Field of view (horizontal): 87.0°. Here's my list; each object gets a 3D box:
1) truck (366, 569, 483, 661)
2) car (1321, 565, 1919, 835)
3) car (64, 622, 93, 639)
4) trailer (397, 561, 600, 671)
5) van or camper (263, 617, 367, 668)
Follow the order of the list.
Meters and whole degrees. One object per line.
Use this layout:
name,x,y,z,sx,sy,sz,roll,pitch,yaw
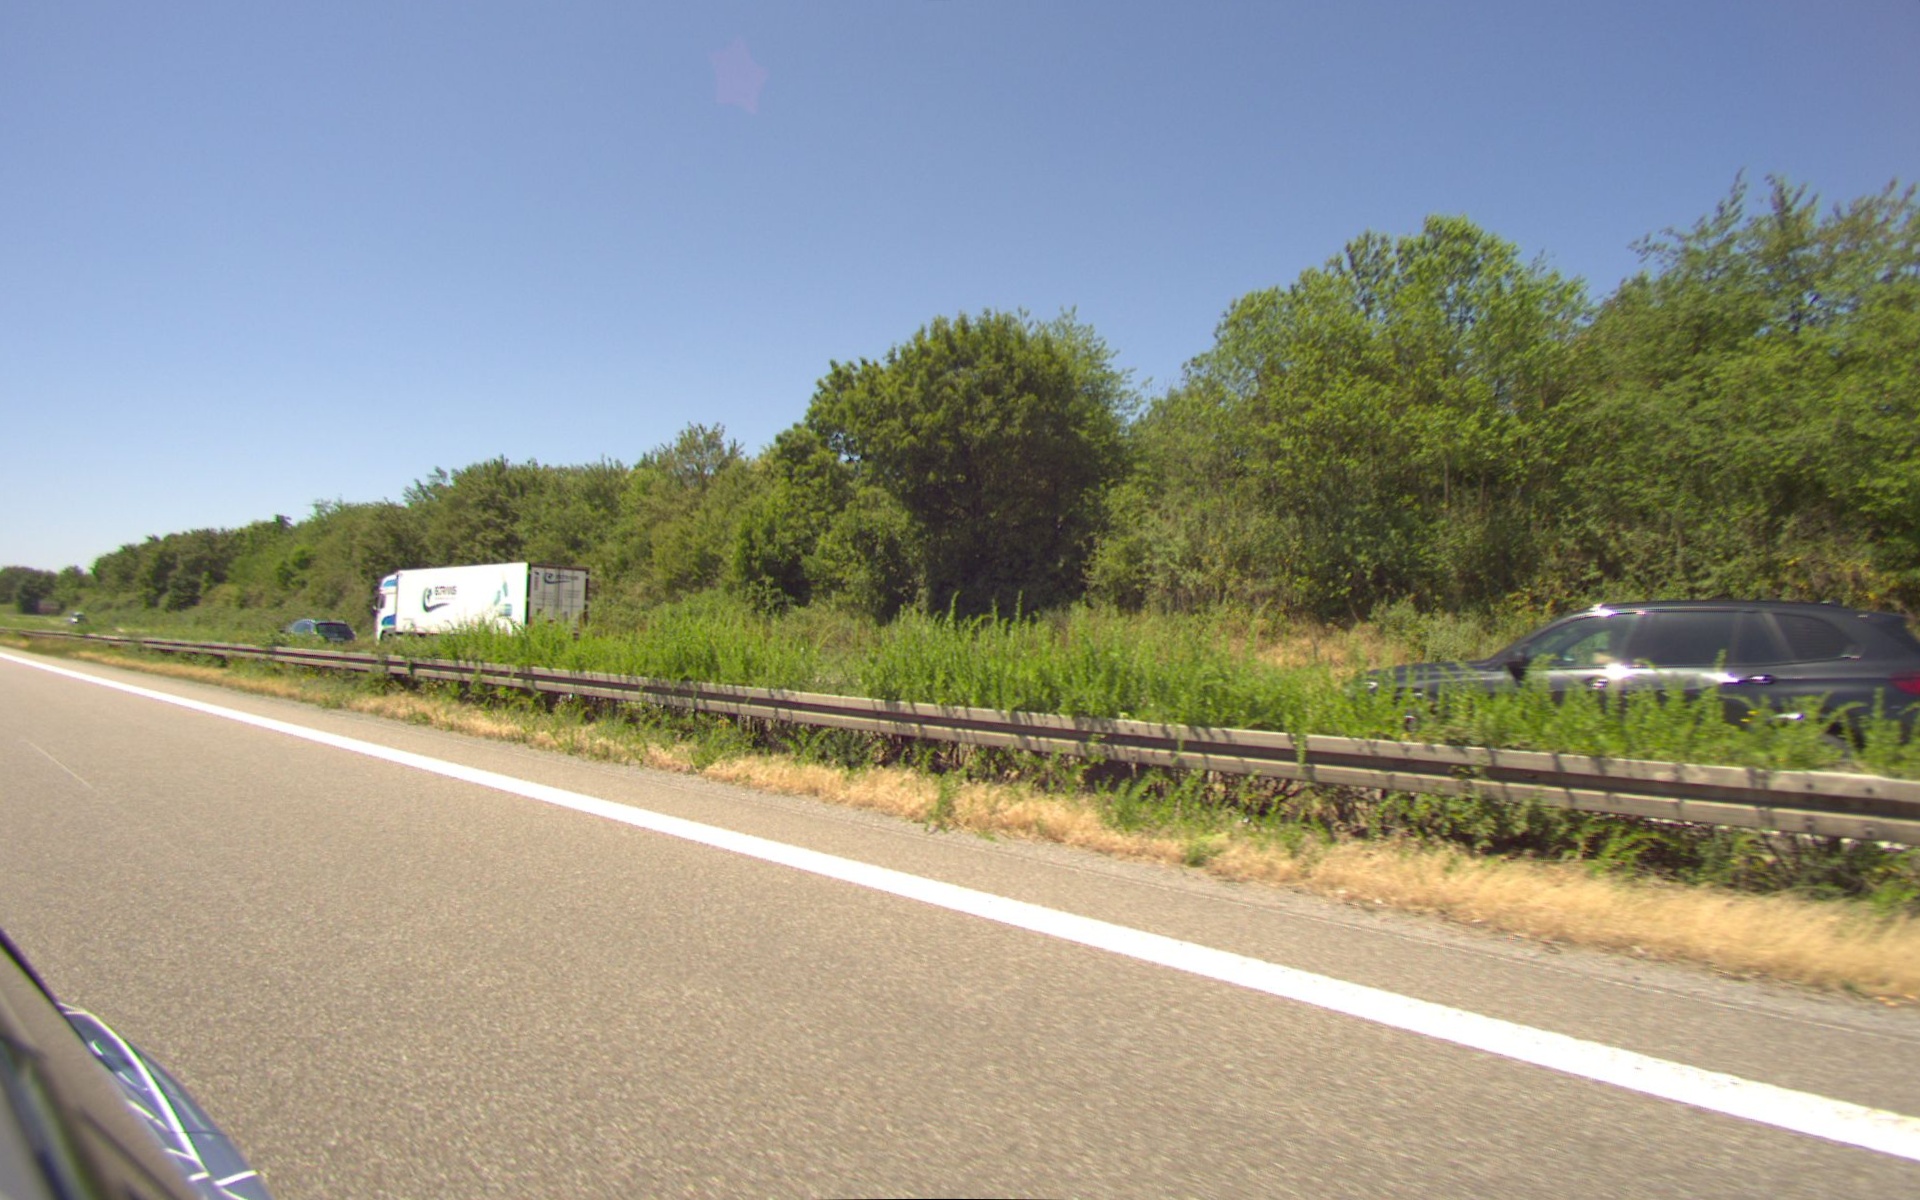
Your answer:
truck,-26.210,0.692,49.429,5.942,4.180,3.160,-1,0,42
car,6.148,0.721,9.040,5.188,1.921,1.854,-1,0,41
car,-103.529,3.615,118.796,4.301,1.929,1.973,-1,-2,41
trailer,-20.575,0.668,44.412,12.983,4.222,3.142,-1,0,42
van or camper,-23.745,1.507,37.181,5.057,1.764,1.972,-1,-2,43
